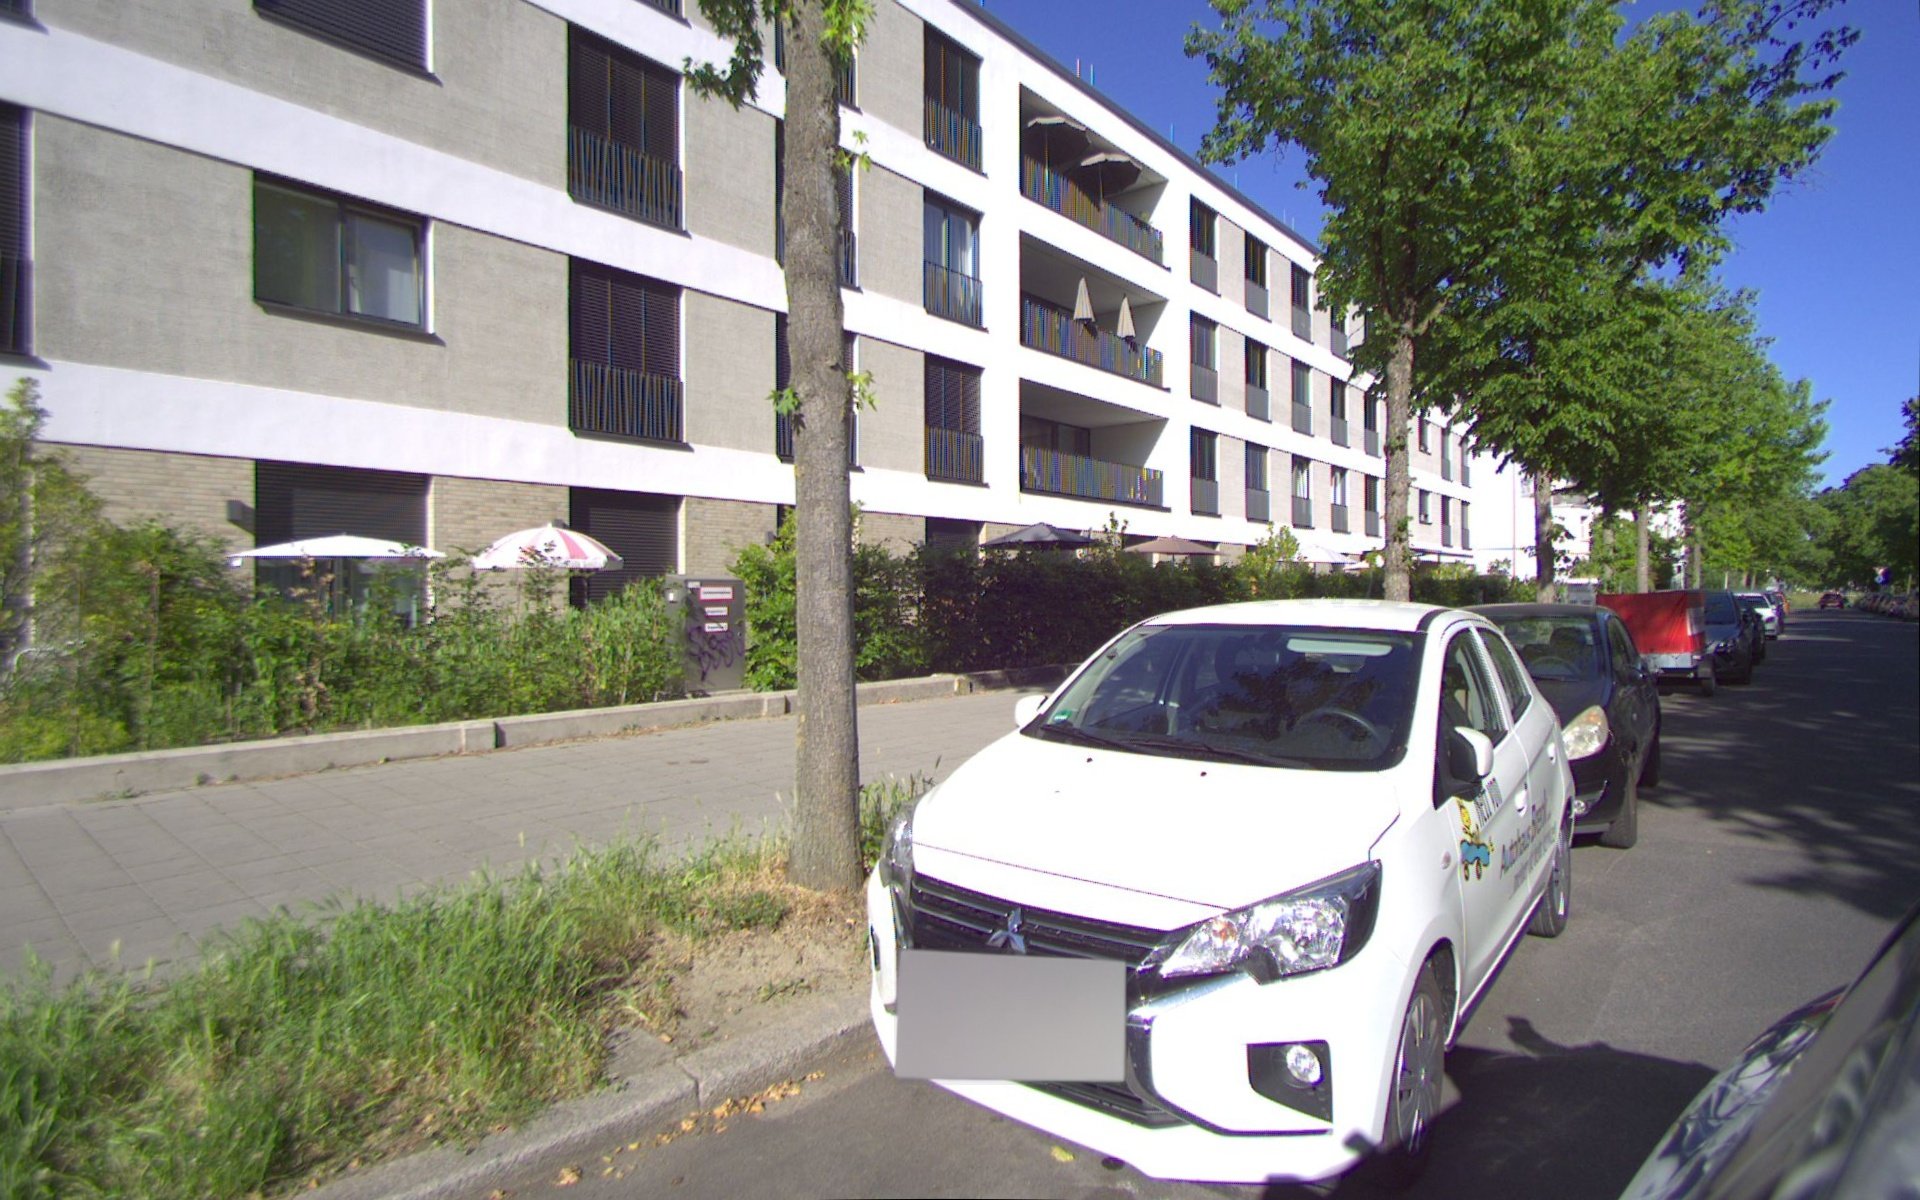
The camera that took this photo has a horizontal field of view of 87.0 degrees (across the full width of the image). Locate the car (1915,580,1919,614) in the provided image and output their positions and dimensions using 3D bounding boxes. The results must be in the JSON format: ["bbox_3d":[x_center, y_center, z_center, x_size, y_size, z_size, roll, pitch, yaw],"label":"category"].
[{"bbox_3d":[51.581,-0.156,53.131,1.858,1.749,3.941,2,2,41],"label":"car"}]

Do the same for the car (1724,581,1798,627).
[{"bbox_3d":[30.587,0.128,38.585,1.896,1.668,4.788,-1,0,42],"label":"car"}]

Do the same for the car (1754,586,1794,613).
[{"bbox_3d":[47.569,-0.062,59.124,1.665,1.483,3.483,1,1,41],"label":"car"}]

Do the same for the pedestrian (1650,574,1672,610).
[{"bbox_3d":[40.678,-0.464,58.721,0.904,2.039,0.991,1,1,41],"label":"pedestrian"}]

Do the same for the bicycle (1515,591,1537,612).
[{"bbox_3d":[25.347,0.055,45.283,0.562,0.906,1.586,0,0,40],"label":"bicycle"}]

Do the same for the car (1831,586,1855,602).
[{"bbox_3d":[81.951,-0.566,93.898,1.660,1.483,3.396,1,1,41],"label":"car"}]

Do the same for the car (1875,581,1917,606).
[{"bbox_3d":[70.743,-0.533,76.508,1.880,1.830,3.864,0,0,36],"label":"car"}]

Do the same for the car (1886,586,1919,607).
[{"bbox_3d":[67.551,-0.275,72.174,1.796,1.498,3.946,0,1,37],"label":"car"}]

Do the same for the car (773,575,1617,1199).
[{"bbox_3d":[1.344,0.690,3.979,1.729,1.506,3.954,-1,0,38],"label":"car"}]

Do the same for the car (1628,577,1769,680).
[{"bbox_3d":[13.802,0.465,18.792,1.789,1.664,4.750,-3,-1,39],"label":"car"}]

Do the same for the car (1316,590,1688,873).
[{"bbox_3d":[4.197,0.700,7.467,1.666,1.469,4.121,-3,-1,39],"label":"car"}]

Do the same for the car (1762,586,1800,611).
[{"bbox_3d":[50.776,-0.109,62.577,1.665,1.483,3.483,1,1,41],"label":"car"}]

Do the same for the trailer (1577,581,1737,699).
[{"bbox_3d":[10.705,0.551,15.483,1.573,1.599,3.143,-3,-1,42],"label":"trailer"}]

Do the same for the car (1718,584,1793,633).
[{"bbox_3d":[26.834,0.250,34.248,1.776,1.537,4.627,-1,0,36],"label":"car"}]

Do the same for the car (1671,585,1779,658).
[{"bbox_3d":[17.751,0.445,23.423,1.716,1.536,4.281,-1,0,41],"label":"car"}]

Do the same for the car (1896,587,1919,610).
[{"bbox_3d":[60.122,-0.120,63.670,1.599,1.408,3.757,0,1,40],"label":"car"}]
